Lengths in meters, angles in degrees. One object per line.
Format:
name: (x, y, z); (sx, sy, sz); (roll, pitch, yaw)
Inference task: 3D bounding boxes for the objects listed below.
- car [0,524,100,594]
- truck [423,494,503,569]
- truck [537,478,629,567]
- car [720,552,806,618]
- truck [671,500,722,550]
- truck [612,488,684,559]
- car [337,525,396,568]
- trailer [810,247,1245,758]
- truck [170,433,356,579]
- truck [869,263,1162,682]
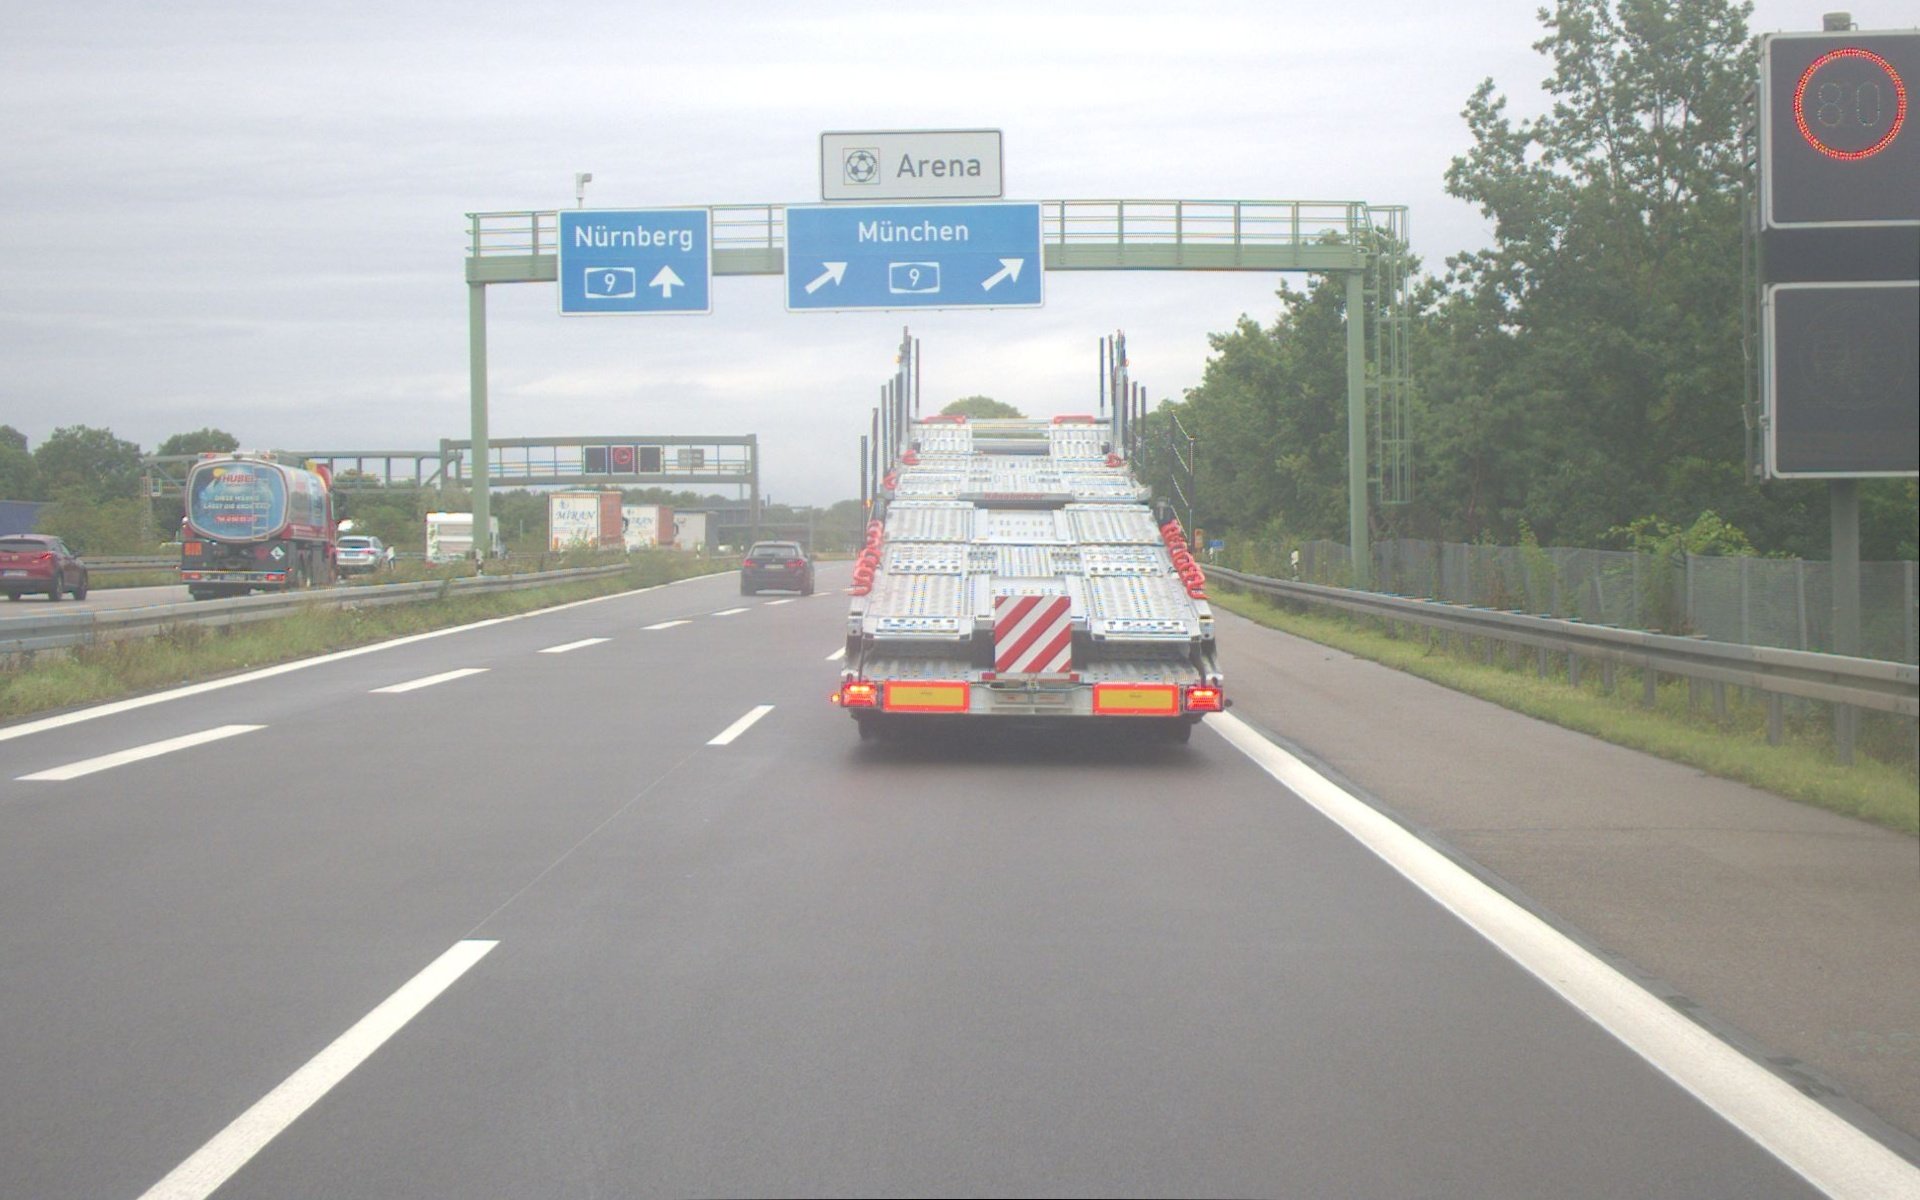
car: (-21.113, -0.948, 78.942); (1.794, 1.551, 3.827); (1, 1, -1)
truck: (-18.491, -2.550, 128.152); (2.243, 2.695, 5.280); (1, 1, -1)
truck: (-19.455, -3.998, 178.103); (3.733, 4.402, 10.196); (1, 1, -1)
car: (-5.088, -0.403, 89.320); (1.961, 1.632, 5.625); (1, 1, -1)
truck: (-20.040, -5.725, 262.248); (3.028, 3.672, 12.150); (1, 1, -1)
truck: (-20.210, -4.983, 223.468); (3.733, 4.402, 11.898); (1, 1, -1)
car: (-22.342, -2.023, 129.489); (1.682, 1.525, 4.001); (1, 1, -3)
trailer: (0.480, -0.747, 27.556); (2.777, 3.273, 10.407); (1, 1, 0)
truck: (-16.855, -2.250, 83.736); (2.856, 3.353, 8.632); (1, 1, -1)
truck: (0.558, -1.323, 37.392); (2.739, 3.954, 9.129); (1, 1, 0)
